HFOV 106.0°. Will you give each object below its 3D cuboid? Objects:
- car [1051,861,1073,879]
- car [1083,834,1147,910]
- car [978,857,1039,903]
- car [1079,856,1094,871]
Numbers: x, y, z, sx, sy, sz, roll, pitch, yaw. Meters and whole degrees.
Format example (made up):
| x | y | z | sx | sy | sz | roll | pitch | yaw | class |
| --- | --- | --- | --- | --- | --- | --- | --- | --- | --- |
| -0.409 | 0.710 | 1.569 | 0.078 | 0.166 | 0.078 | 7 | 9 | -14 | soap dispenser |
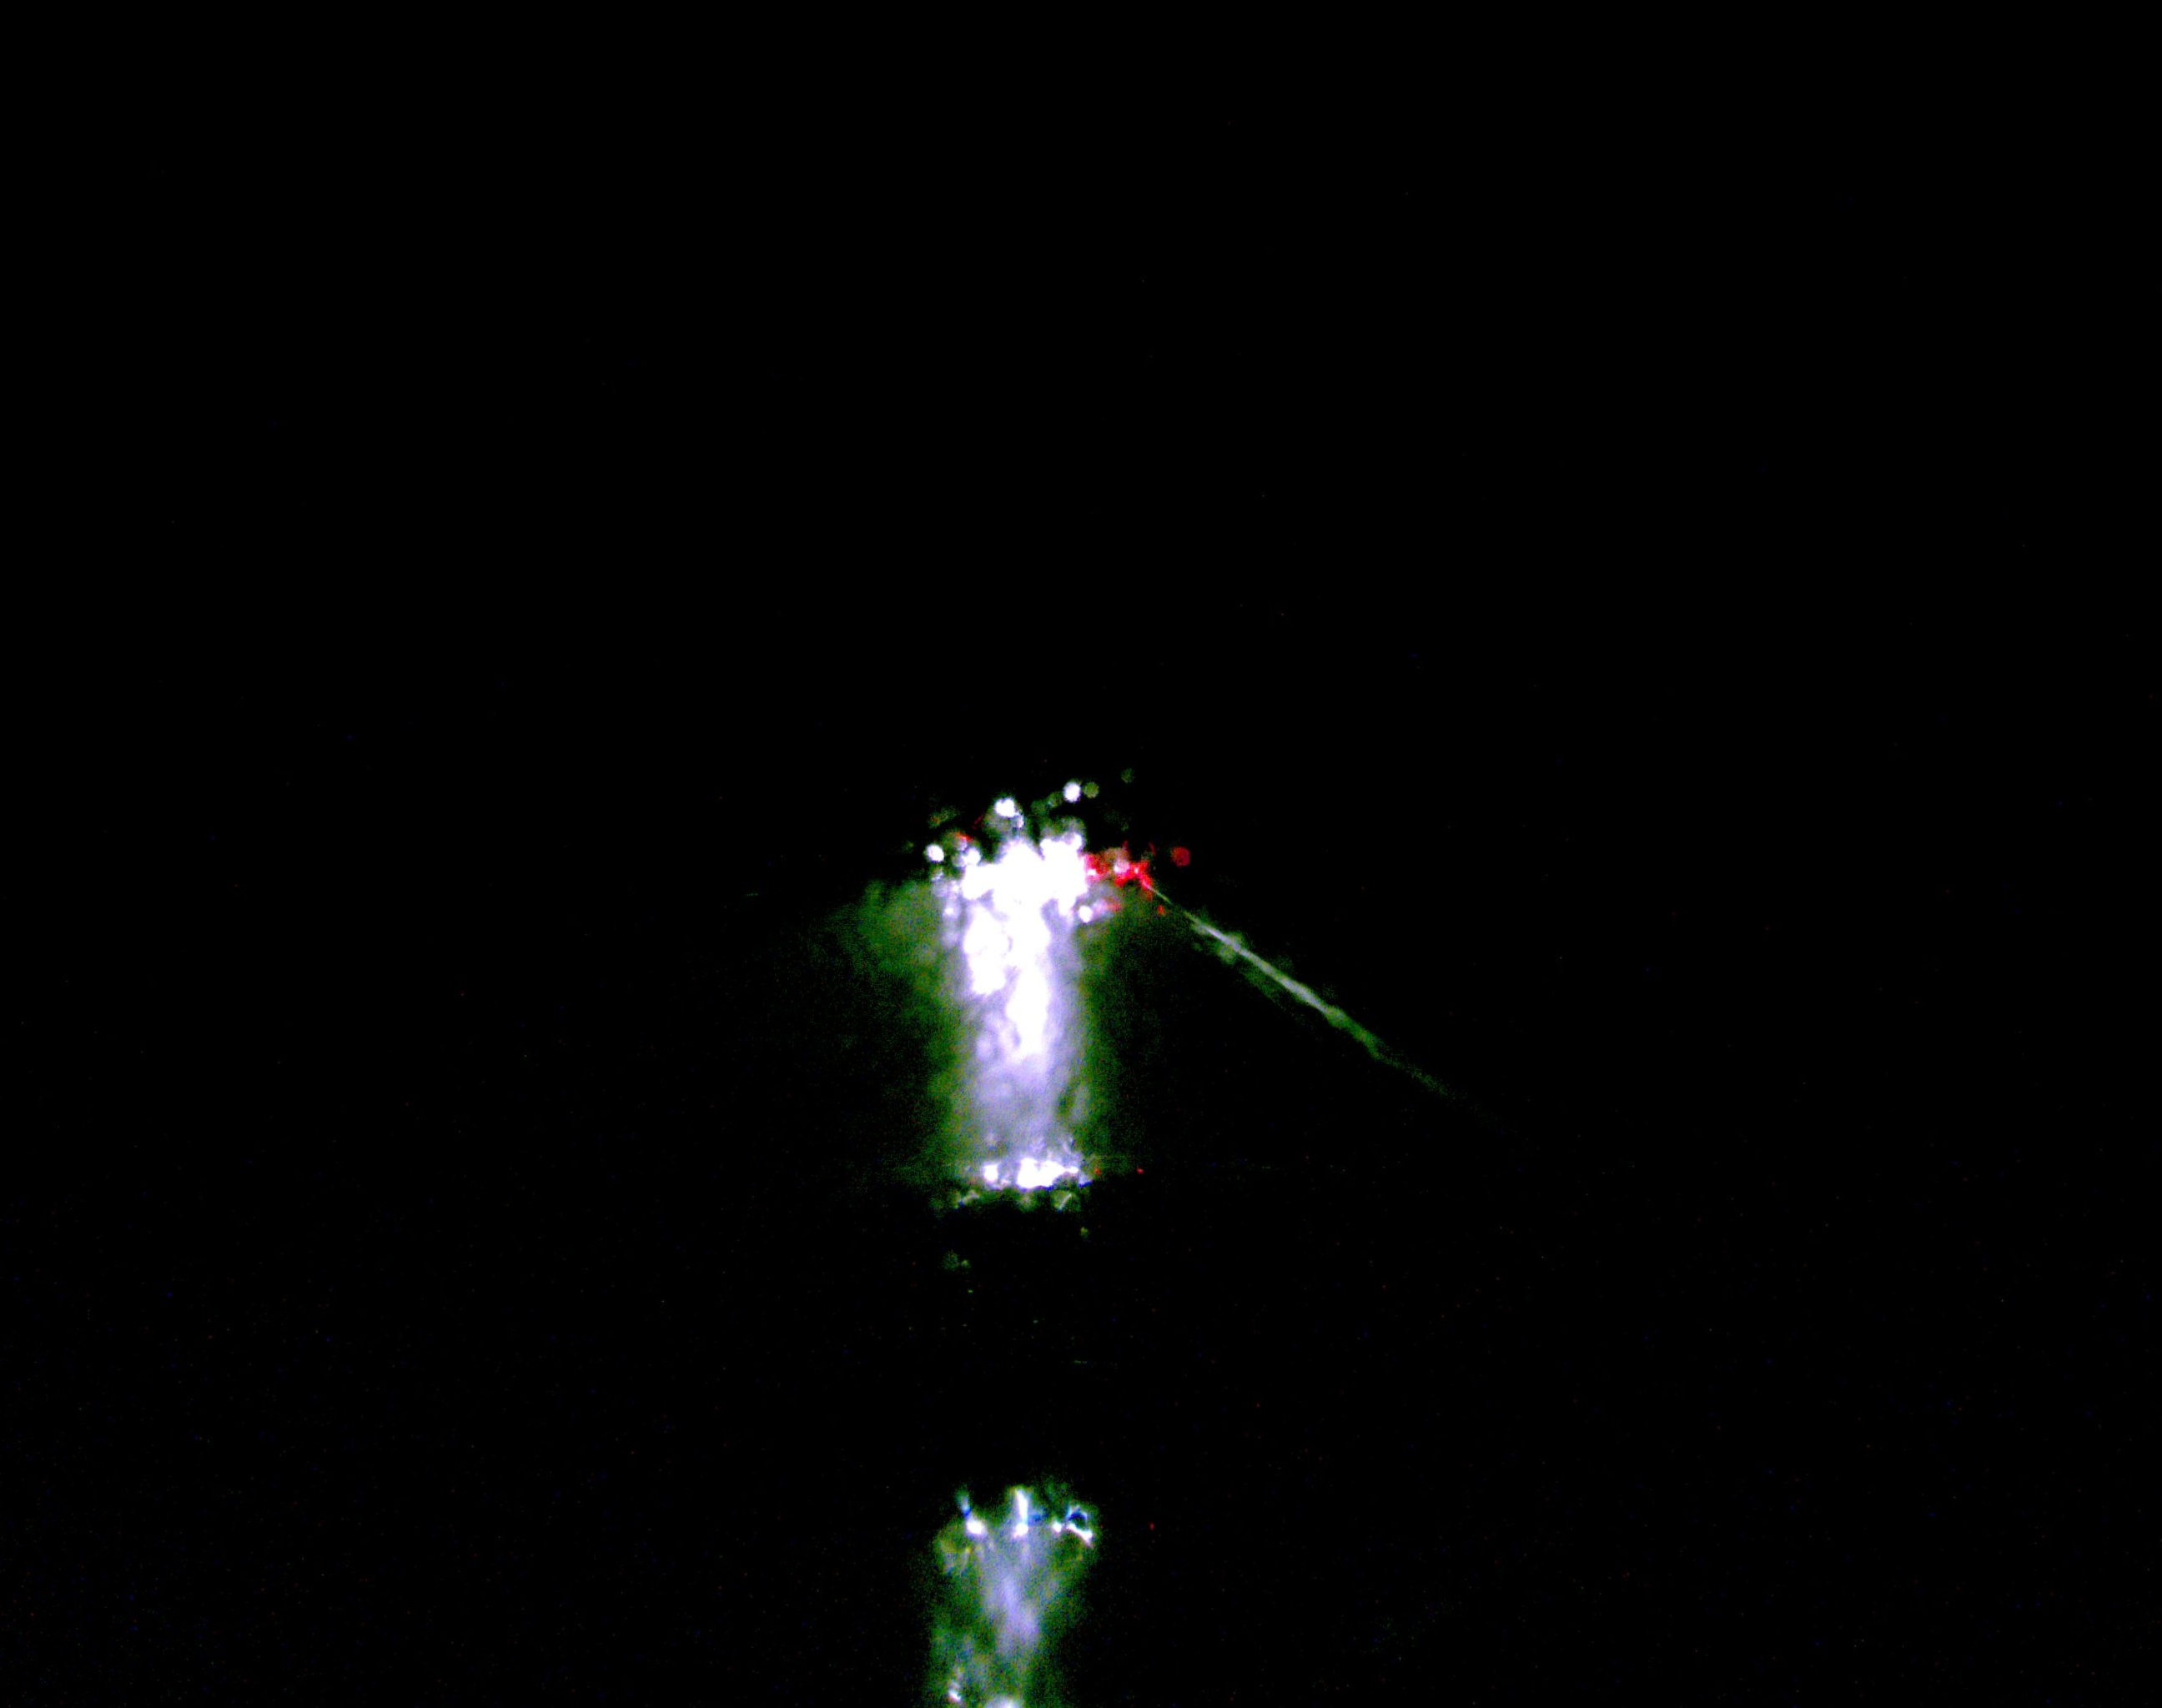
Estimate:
| x | y | z | sx | sy | sz | roll | pitch | yaw | class |
| --- | --- | --- | --- | --- | --- | --- | --- | --- | --- |
| -1.746 | 1.432 | 75.121 | 1.766 | 1.510 | 3.690 | -2 | 0 | 1 | car |
| 1.225 | 0.549 | 29.968 | 2.173 | 2.557 | 4.510 | 0 | 2 | 1 | car |
| -2.775 | 0.965 | 32.047 | 1.853 | 1.637 | 4.145 | -2 | 0 | 2 | car |
| 0.806 | 1.487 | 123.086 | 1.986 | 2.013 | 4.001 | -6 | -1 | 1 | car |
